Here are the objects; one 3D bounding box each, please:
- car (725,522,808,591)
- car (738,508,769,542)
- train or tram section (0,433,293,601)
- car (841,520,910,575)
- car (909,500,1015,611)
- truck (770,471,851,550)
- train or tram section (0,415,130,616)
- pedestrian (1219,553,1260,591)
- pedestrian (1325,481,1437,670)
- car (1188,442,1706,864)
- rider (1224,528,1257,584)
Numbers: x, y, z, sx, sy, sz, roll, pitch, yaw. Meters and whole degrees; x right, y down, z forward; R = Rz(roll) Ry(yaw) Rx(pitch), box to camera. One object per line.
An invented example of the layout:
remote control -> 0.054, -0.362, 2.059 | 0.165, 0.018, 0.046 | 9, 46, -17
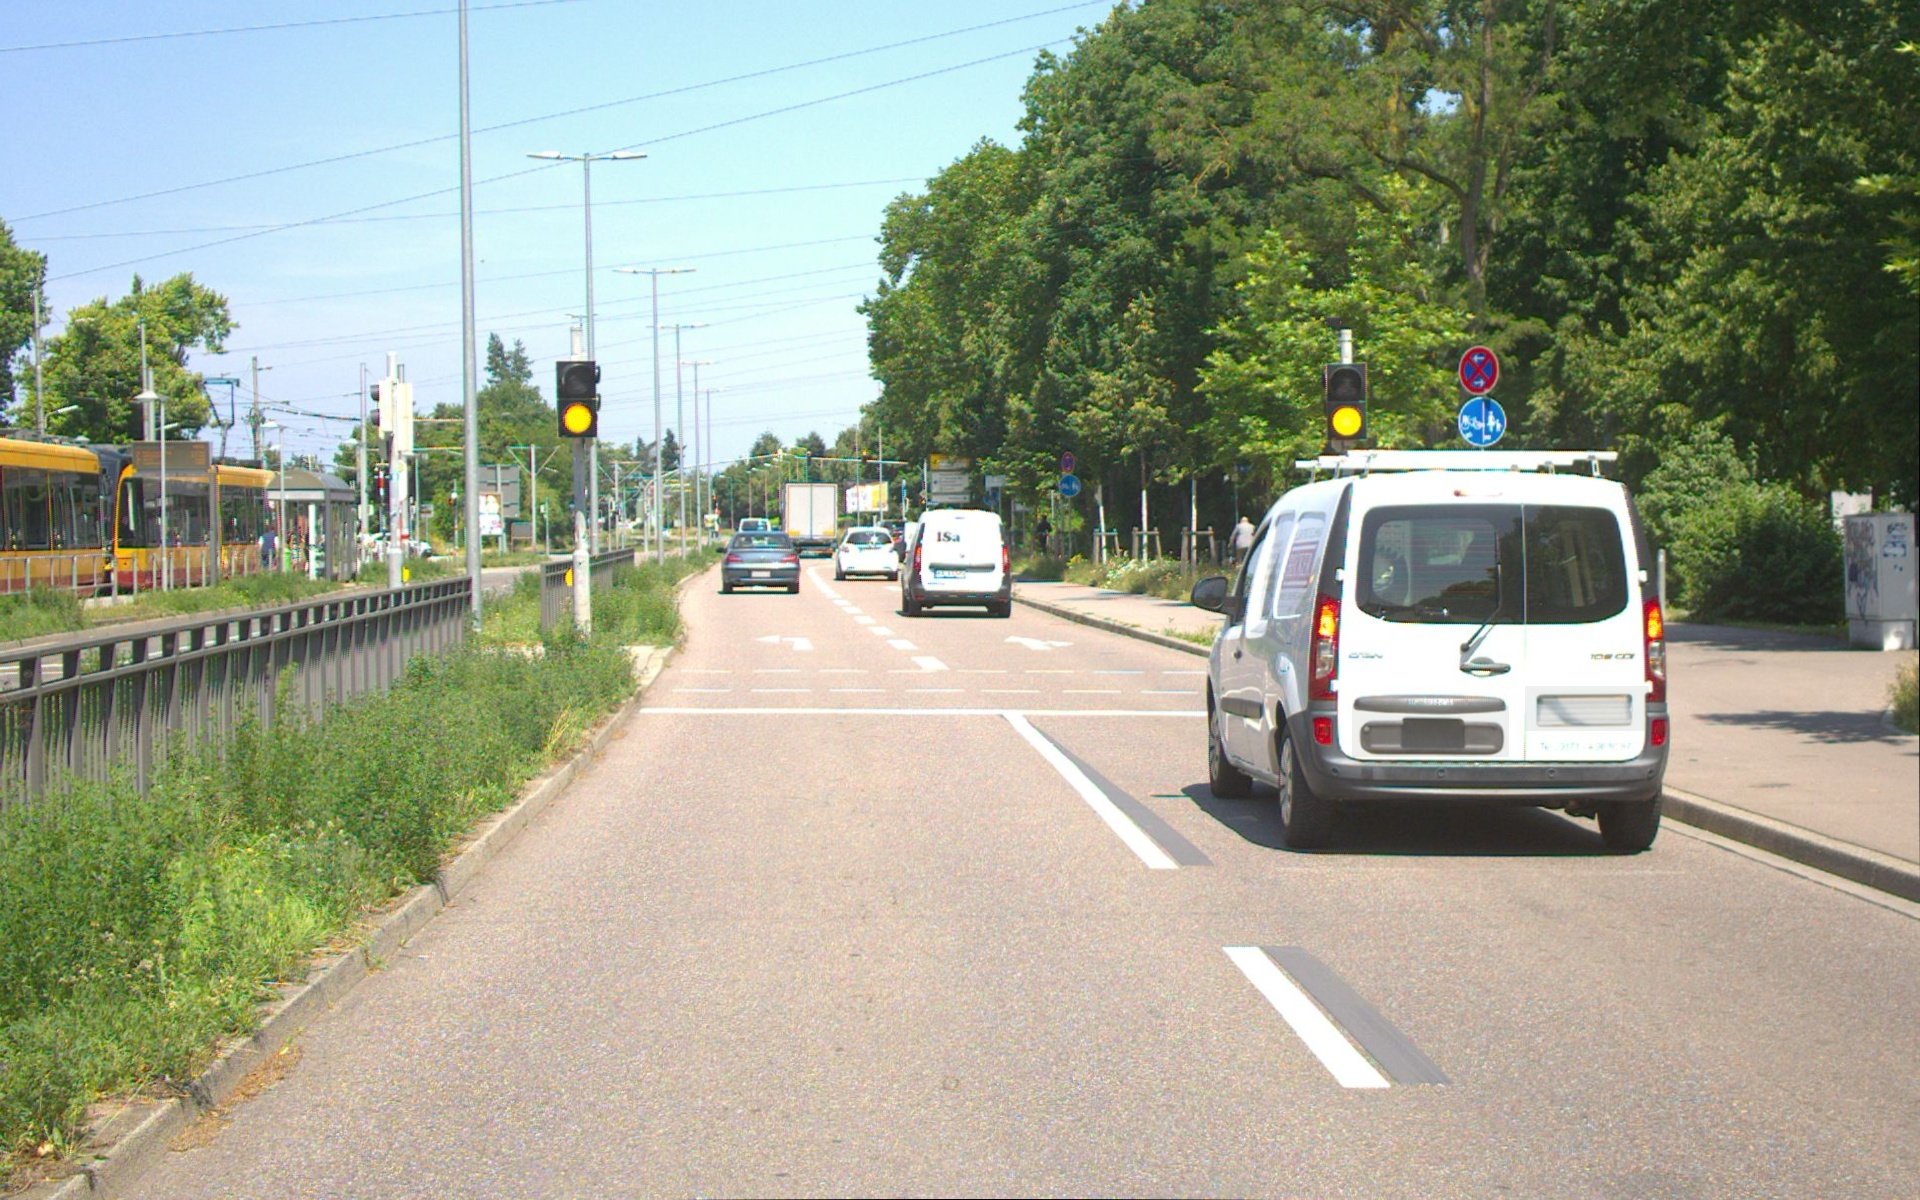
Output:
car -> -4.321, -0.996, 76.834 | 1.801, 1.481, 4.001 | 0, 1, -3
car -> -11.356, -4.134, 189.305 | 1.687, 1.891, 3.871 | -1, 1, -3
train or tram section -> -20.309, -2.095, 88.197 | 2.787, 3.655, 26.003 | 0, 1, -3
car -> -2.434, -1.507, 98.157 | 1.803, 1.534, 4.001 | 0, 1, -4
car -> 0.066, -0.788, 58.525 | 1.728, 1.807, 4.000 | 1, 2, 1
truck -> -7.583, -4.498, 172.940 | 3.898, 3.799, 10.794 | -1, 1, -3
train or tram section -> -18.534, -1.408, 56.503 | 2.787, 3.655, 37.524 | 0, 1, -3
pedestrian -> 6.387, -0.653, 78.608 | 0.678, 0.845, 1.774 | 0, 1, -3
pedestrian -> 4.178, -0.248, 34.084 | 1.047, 1.844, 0.757 | 0, 1, 10
car -> 2.330, 0.190, 17.613 | 1.824, 1.875, 4.456 | 0, 1, -2
rider -> 6.399, -1.008, 78.542 | 0.678, 1.277, 0.534 | 0, 1, -3
